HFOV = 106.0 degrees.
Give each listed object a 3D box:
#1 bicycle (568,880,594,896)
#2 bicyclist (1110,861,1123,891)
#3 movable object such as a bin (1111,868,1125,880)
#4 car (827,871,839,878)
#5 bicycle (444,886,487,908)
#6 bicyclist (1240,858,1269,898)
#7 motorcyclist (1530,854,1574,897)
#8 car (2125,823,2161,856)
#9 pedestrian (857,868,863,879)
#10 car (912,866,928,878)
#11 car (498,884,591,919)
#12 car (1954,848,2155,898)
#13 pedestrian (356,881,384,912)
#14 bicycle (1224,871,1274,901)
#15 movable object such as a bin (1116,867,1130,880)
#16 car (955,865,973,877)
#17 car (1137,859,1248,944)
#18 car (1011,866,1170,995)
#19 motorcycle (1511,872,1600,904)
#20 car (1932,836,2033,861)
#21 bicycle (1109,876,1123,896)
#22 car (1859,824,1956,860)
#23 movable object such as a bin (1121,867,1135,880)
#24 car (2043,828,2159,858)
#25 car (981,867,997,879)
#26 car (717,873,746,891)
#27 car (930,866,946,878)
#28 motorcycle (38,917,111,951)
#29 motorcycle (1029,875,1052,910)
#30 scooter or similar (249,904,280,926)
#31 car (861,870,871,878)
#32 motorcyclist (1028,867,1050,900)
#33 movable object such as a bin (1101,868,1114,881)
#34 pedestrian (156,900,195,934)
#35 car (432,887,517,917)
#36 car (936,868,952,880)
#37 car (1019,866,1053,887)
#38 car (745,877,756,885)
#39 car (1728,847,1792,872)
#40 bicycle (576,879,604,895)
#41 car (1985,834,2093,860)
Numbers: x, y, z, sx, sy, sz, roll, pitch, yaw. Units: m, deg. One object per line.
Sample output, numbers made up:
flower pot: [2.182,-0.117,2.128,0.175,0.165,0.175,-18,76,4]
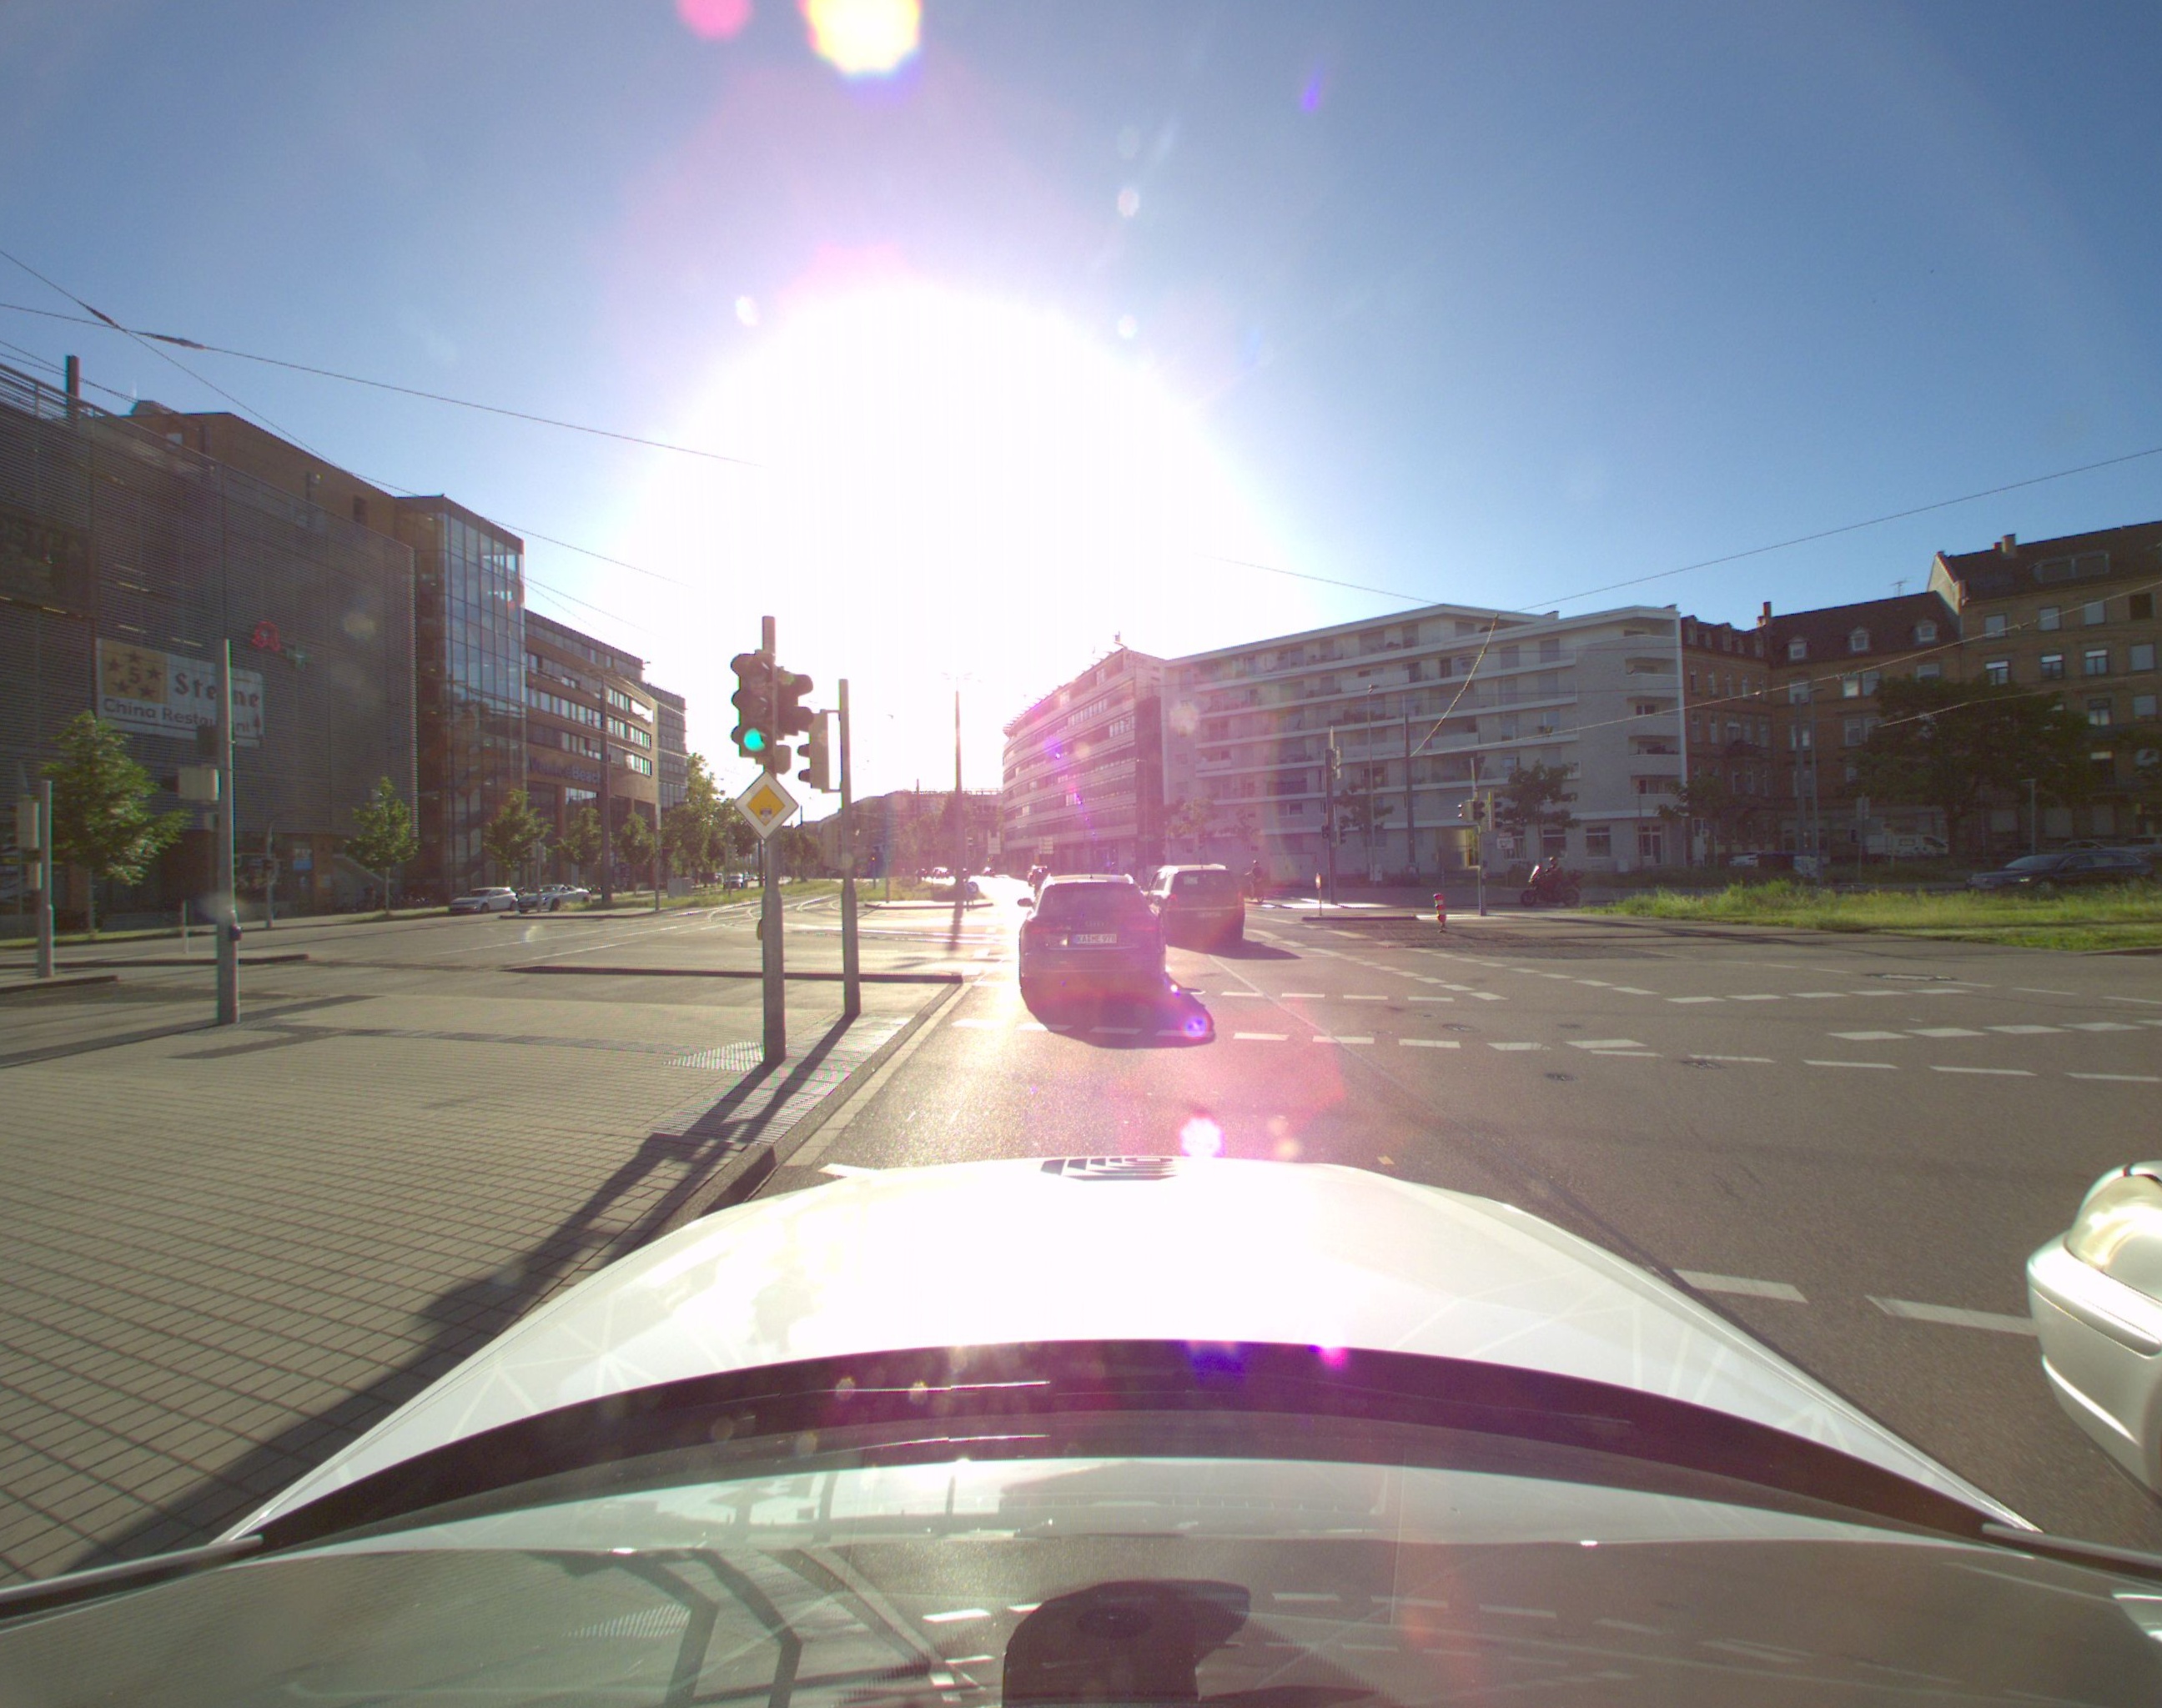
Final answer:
bicycle: [-47.510,3.219,77.355,2.125,1.433,0.761,-3,-2,10]
bicyclist: [2.020,1.242,46.127,0.651,1.642,0.973,-2,-1,5]
movable object such as a bin: [4.013,2.185,88.831,1.065,1.332,1.115,-2,-2,-26]
car: [-63.320,5.162,207.917,2.006,1.640,4.368,-1,-1,-31]
bicycle: [-44.036,3.067,58.267,2.355,1.433,1.079,-3,-2,10]
bicyclist: [7.583,1.047,35.559,0.773,1.706,0.919,-1,-2,-44]
motorcyclist: [16.614,0.752,28.748,0.919,1.481,1.174,-2,-1,8]
car: [60.898,-0.860,44.859,1.981,1.772,4.012,-3,-2,11]
pedestrian: [-36.321,3.253,134.043,0.903,1.825,0.825,-2,-2,-15]
car: [-25.154,2.885,127.268,1.998,1.706,3.977,-2,-2,-16]
car: [-28.089,2.434,42.835,1.989,1.546,4.525,-2,-1,-3]
car: [30.746,0.627,25.801,4.229,1.401,1.768,-2,-4,-1]
pedestrian: [-42.808,2.551,49.020,0.823,1.825,0.905,-3,-2,3]
bicycle: [7.362,1.417,35.777,0.773,1.262,2.056,-1,-2,-44]
movable object such as a bin: [4.483,2.133,87.842,1.065,1.332,1.115,-2,-2,-26]
car: [-17.211,2.542,119.551,1.998,1.596,3.977,-2,-2,-17]
car: [2.387,0.987,18.505,1.742,1.696,4.255,0,-1,-3]
car: [0.170,0.912,11.386,1.835,1.454,4.001,0,0,2]
motorcycle: [16.696,1.195,28.738,2.439,1.000,1.174,-2,-1,8]
car: [53.996,-0.300,48.899,1.981,1.354,4.012,-3,-2,11]
bicycle: [1.998,1.818,46.122,0.651,1.043,1.932,-2,0,5]
car: [58.221,-0.829,57.512,4.543,2.311,2.012,-3,-1,40]
movable object such as a bin: [5.000,2.070,86.752,1.065,1.332,1.115,-2,-2,-26]
car: [58.301,-0.599,46.679,1.981,1.486,4.012,-3,-2,11]
car: [-14.950,3.028,131.931,1.996,1.838,3.981,-2,-2,-13]
car: [-35.882,2.856,83.744,1.996,1.640,4.392,-2,-1,-13]
car: [-22.414,2.888,127.753,1.998,1.706,3.977,-2,-2,-16]
motorcycle: [-42.098,3.328,34.081,0.673,1.238,1.894,-3,-2,1]
motorcycle: [-1.698,1.590,34.214,0.860,1.393,1.893,-2,-1,-1]
scooter or similar: [-43.164,3.213,43.073,0.419,1.110,1.153,-3,-2,3]
car: [-48.476,4.452,183.594,1.995,1.706,3.982,-2,-2,-13]
motorcyclist: [-1.751,1.234,34.358,0.860,1.326,0.681,-2,-1,-1]
movable object such as a bin: [2.960,2.294,90.940,1.065,1.332,1.115,-2,-2,-26]
pedestrian: [-44.539,3.103,40.056,0.984,1.566,0.829,-3,-2,1]
car: [-33.750,2.646,45.452,1.891,1.407,3.993,-3,0,-4]
car: [-20.569,3.015,121.980,1.996,1.596,3.981,-2,-2,-13]
car: [-3.973,1.924,71.489,2.008,1.715,4.346,0,0,-18]
car: [-76.272,6.142,187.702,2.005,1.684,3.964,-2,-1,-27]
car: [46.646,0.393,55.942,4.009,1.486,1.982,-2,-2,-28]
bicycle: [-47.340,3.211,78.527,2.405,1.433,0.791,-3,-2,10]
car: [56.200,-0.377,47.894,1.981,1.354,4.012,-3,-2,11]
